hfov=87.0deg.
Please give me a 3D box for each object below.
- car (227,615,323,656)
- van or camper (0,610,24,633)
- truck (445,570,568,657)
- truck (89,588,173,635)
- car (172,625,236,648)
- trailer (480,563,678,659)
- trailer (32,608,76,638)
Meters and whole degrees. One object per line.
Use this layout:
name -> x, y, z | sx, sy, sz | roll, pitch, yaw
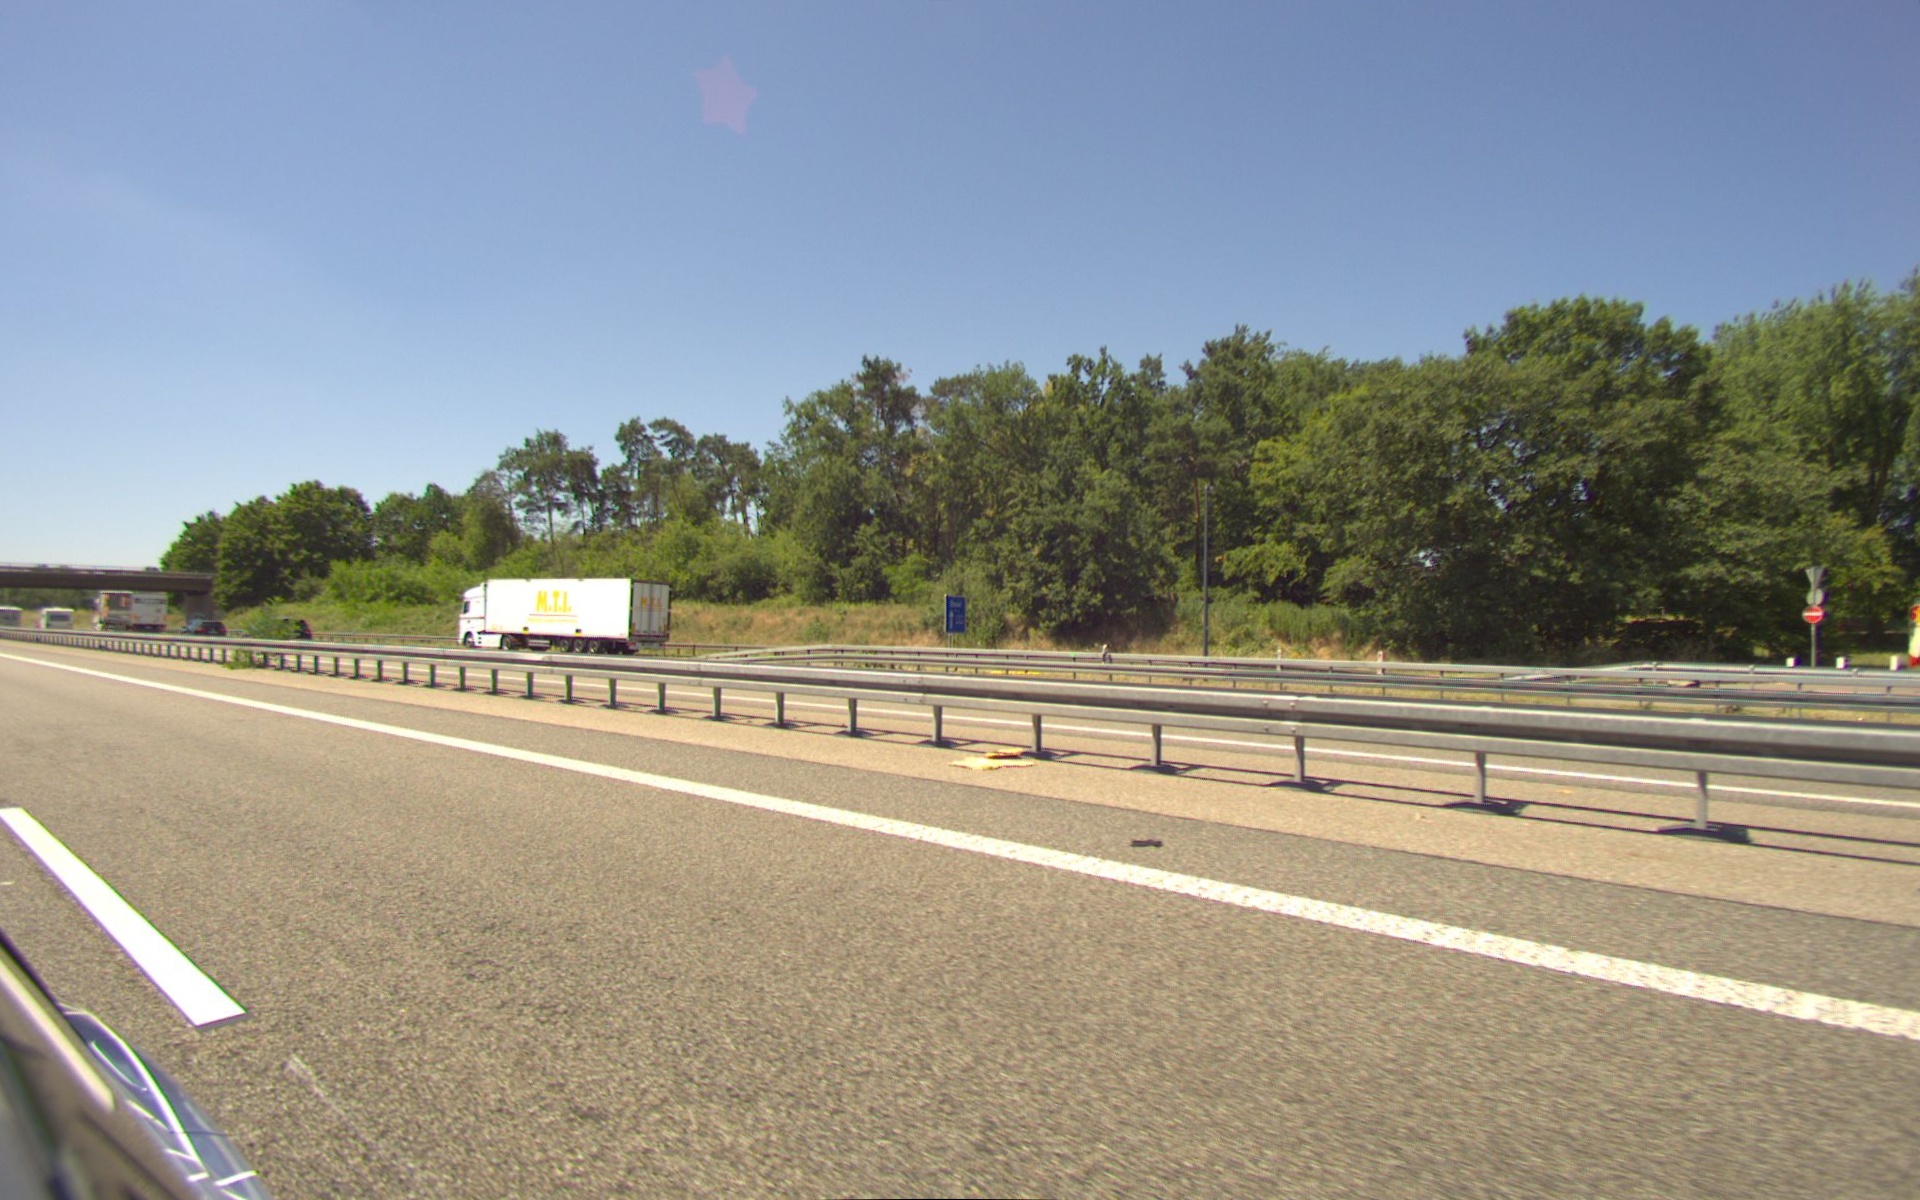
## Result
car -> -28.292, 1.473, 41.746 | 4.887, 1.563, 2.031 | -1, -4, 41
van or camper -> -118.477, 2.687, 125.346 | 8.553, 2.832, 2.477 | -1, -2, 40
truck -> -27.180, 0.892, 60.505 | 7.697, 4.865, 3.044 | -1, -5, 35
truck -> -78.014, 1.153, 95.031 | 16.858, 4.026, 3.291 | -1, -2, 41
car -> -47.894, 2.294, 64.091 | 4.887, 1.390, 2.205 | -1, -4, 41
trailer -> -21.553, 0.757, 56.601 | 13.733, 4.865, 3.044 | -1, -5, 35
trailer -> -89.188, 2.310, 99.560 | 5.071, 2.769, 2.451 | -1, -4, 41
